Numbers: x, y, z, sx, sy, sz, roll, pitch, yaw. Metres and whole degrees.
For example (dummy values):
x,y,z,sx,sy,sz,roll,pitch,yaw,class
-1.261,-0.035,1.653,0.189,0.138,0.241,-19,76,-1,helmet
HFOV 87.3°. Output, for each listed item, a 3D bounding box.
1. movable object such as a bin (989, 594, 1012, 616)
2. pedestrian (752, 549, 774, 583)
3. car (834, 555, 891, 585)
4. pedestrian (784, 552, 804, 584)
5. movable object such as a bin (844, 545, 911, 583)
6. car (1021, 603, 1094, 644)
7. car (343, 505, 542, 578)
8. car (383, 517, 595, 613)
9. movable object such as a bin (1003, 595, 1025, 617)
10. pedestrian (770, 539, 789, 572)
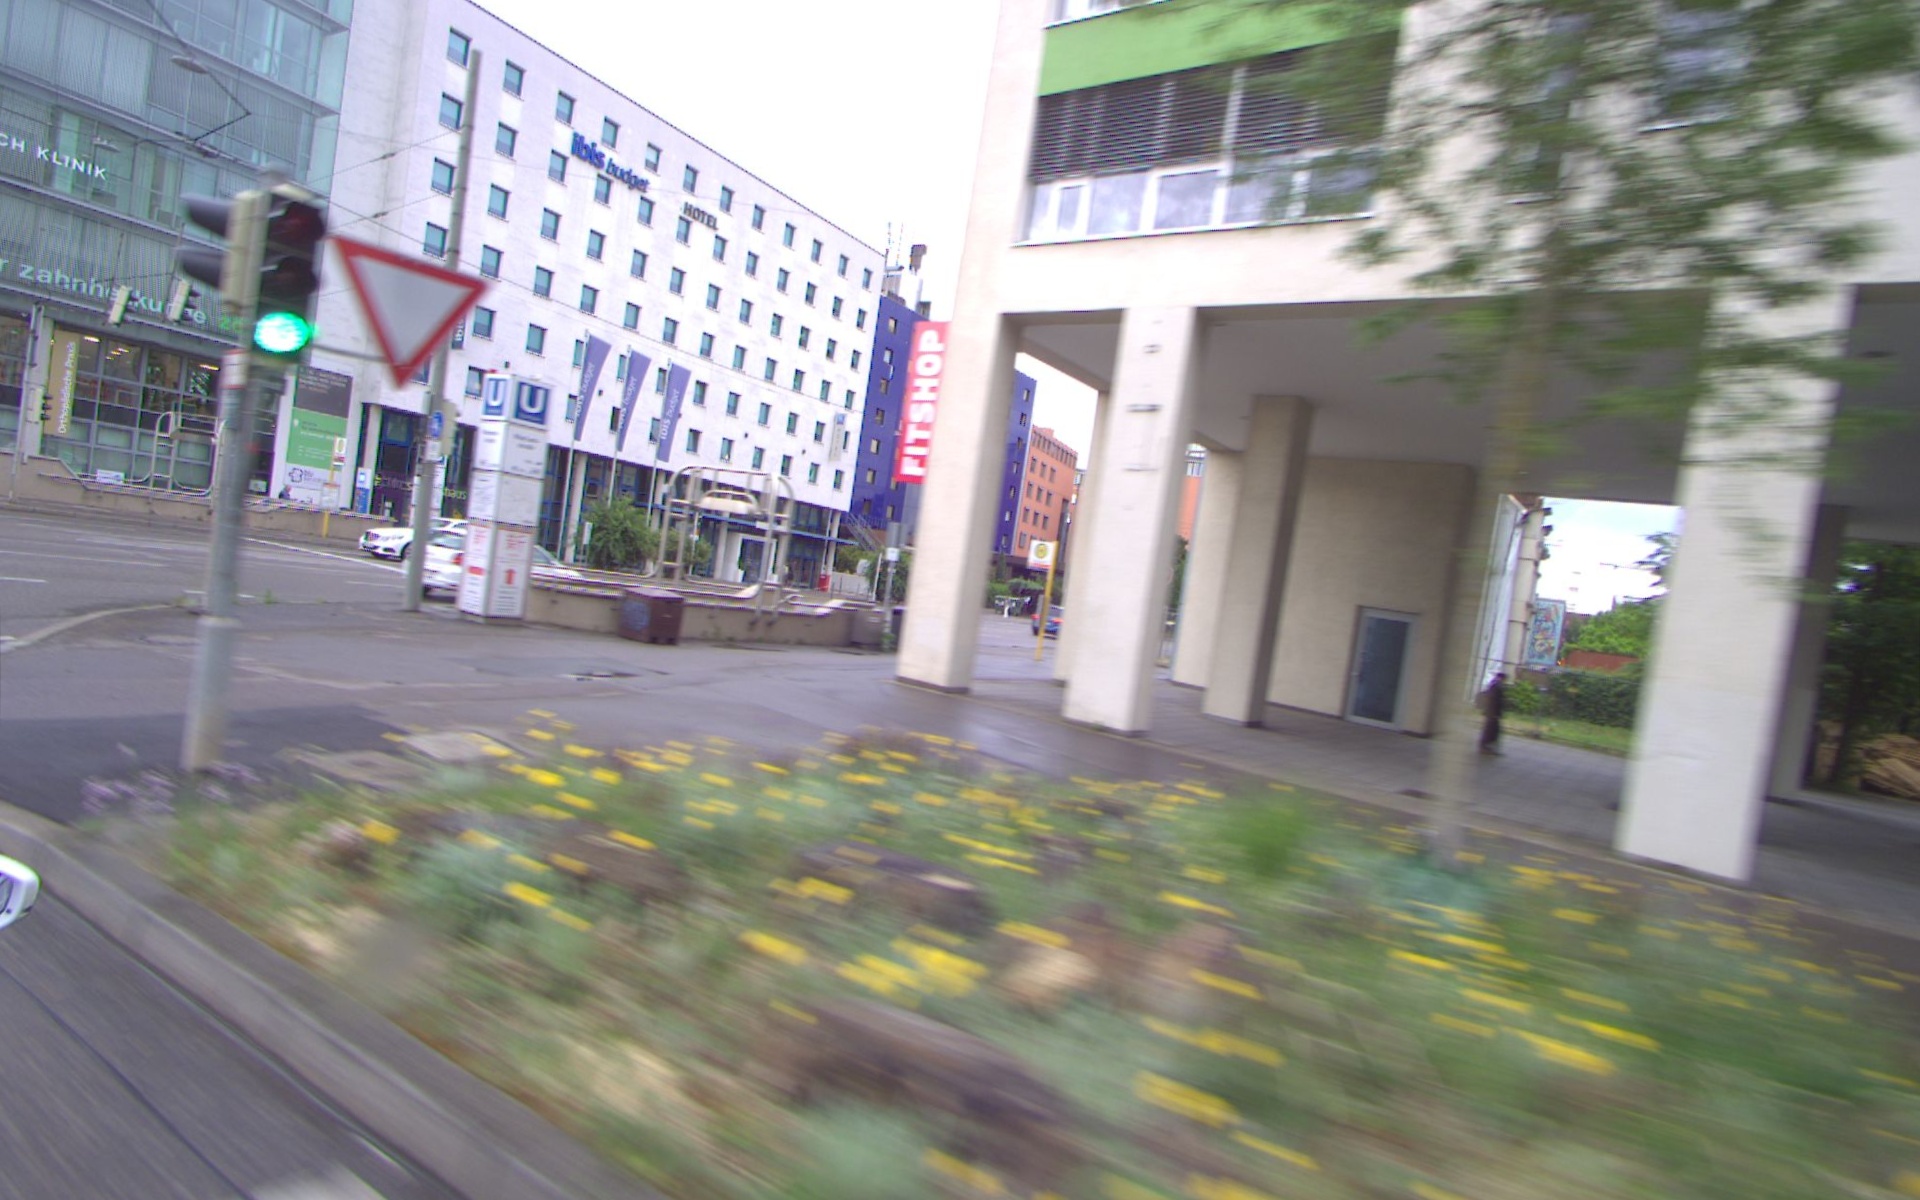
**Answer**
x,y,z,sx,sy,sz,roll,pitch,yaw,class
3.282,0.409,81.574,1.376,1.508,0.947,7,-1,43,movable object such as a bin
-12.821,-2.222,65.405,0.791,2.037,0.814,7,-1,33,pedestrian
-8.707,-2.702,89.350,4.650,2.037,1.890,7,-1,32,car
-11.197,-2.148,67.884,0.891,2.037,0.809,8,-1,-29,pedestrian
-7.485,-3.279,91.193,5.550,2.659,2.159,7,-1,32,movable object such as a bin
4.988,1.200,51.020,1.967,1.593,3.992,10,1,32,car
-15.232,-1.687,29.924,1.792,1.404,4.953,9,1,31,car
-9.658,-0.652,20.955,1.645,1.492,3.778,10,1,21,car
4.301,0.473,80.137,1.369,1.508,0.952,8,-1,22,movable object such as a bin
-12.003,-2.949,66.790,0.800,2.037,0.805,8,0,4,pedestrian
